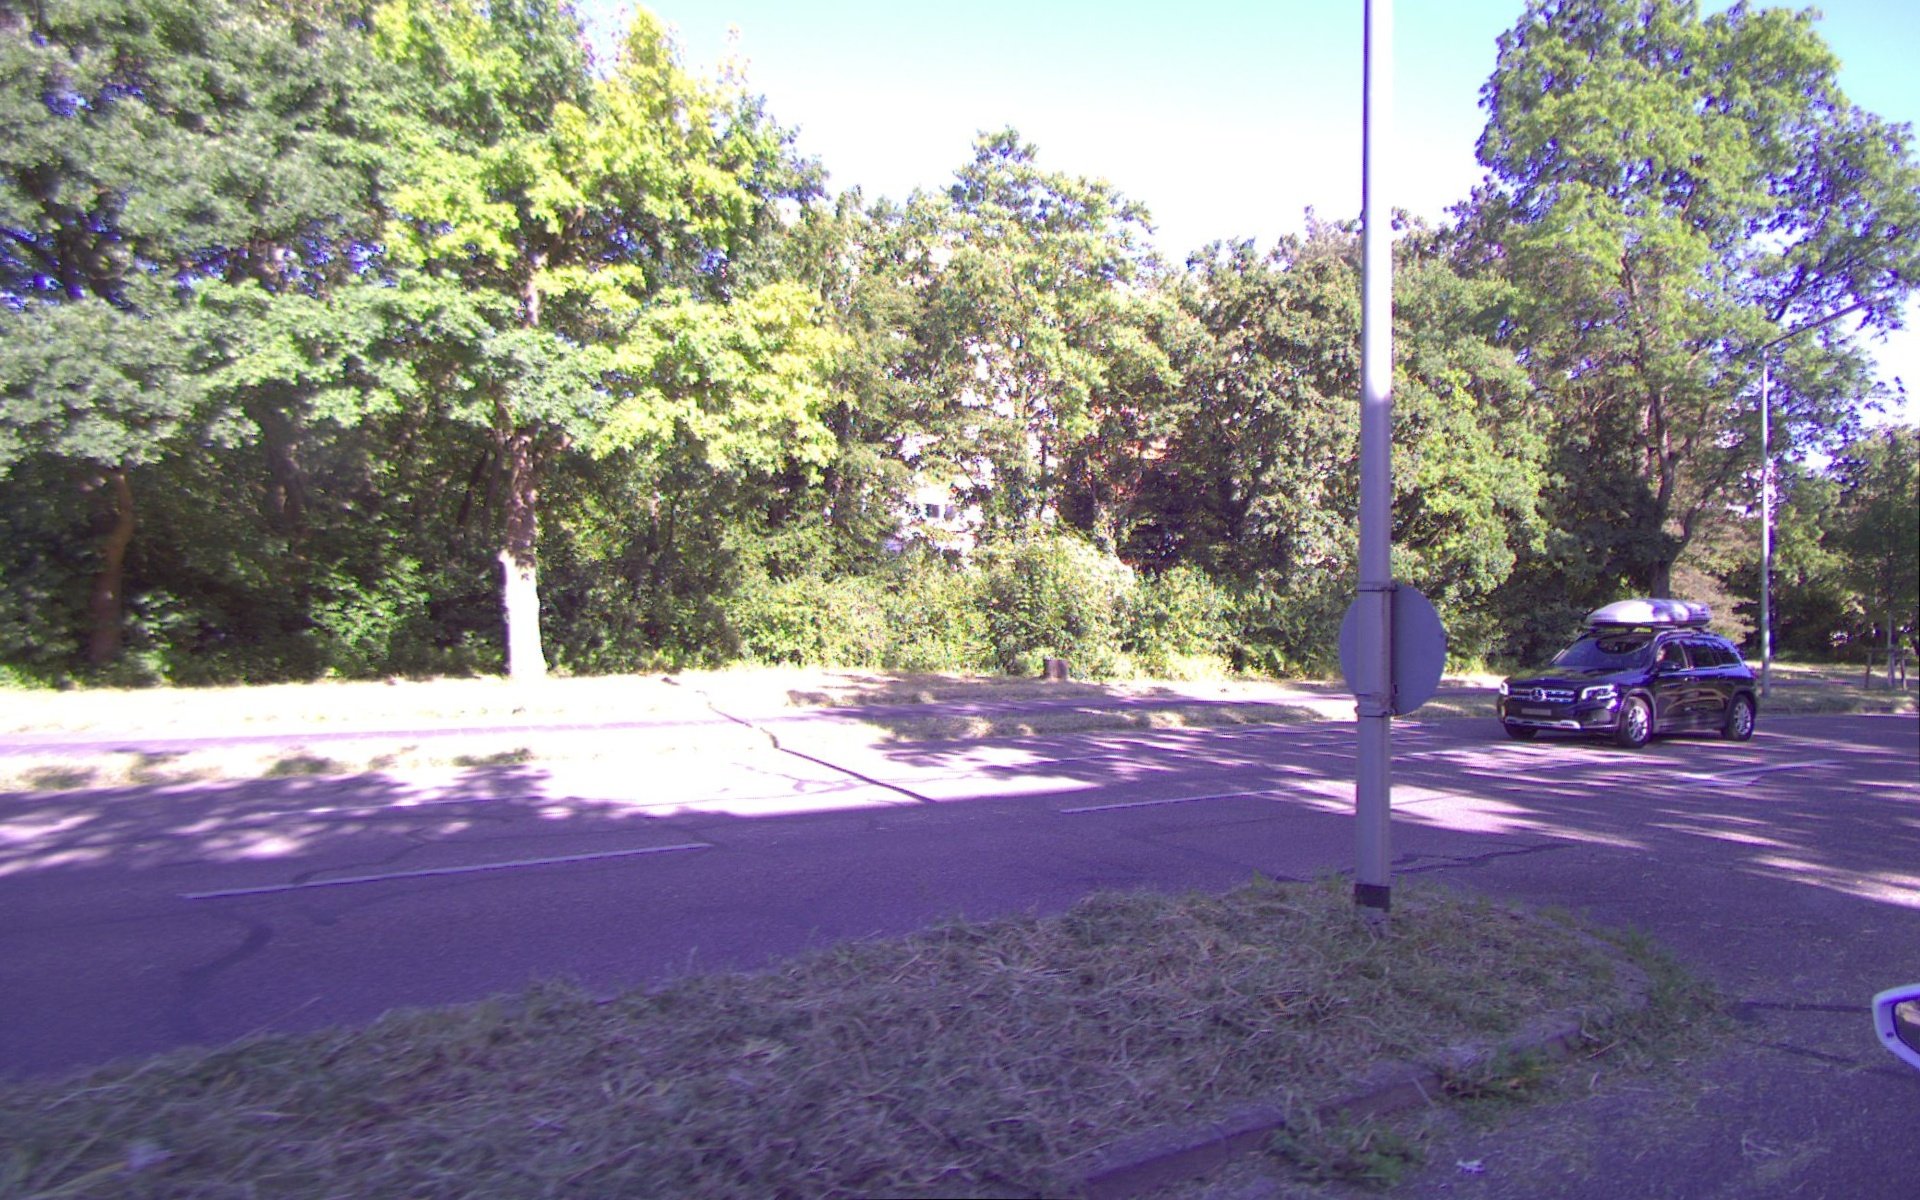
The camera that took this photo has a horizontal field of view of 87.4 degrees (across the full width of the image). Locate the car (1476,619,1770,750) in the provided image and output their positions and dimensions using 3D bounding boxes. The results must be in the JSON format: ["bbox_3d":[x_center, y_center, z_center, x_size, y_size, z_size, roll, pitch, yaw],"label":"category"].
[{"bbox_3d":[10.064,1.212,15.201,4.448,1.730,1.832,2,-3,-28],"label":"car"}]
